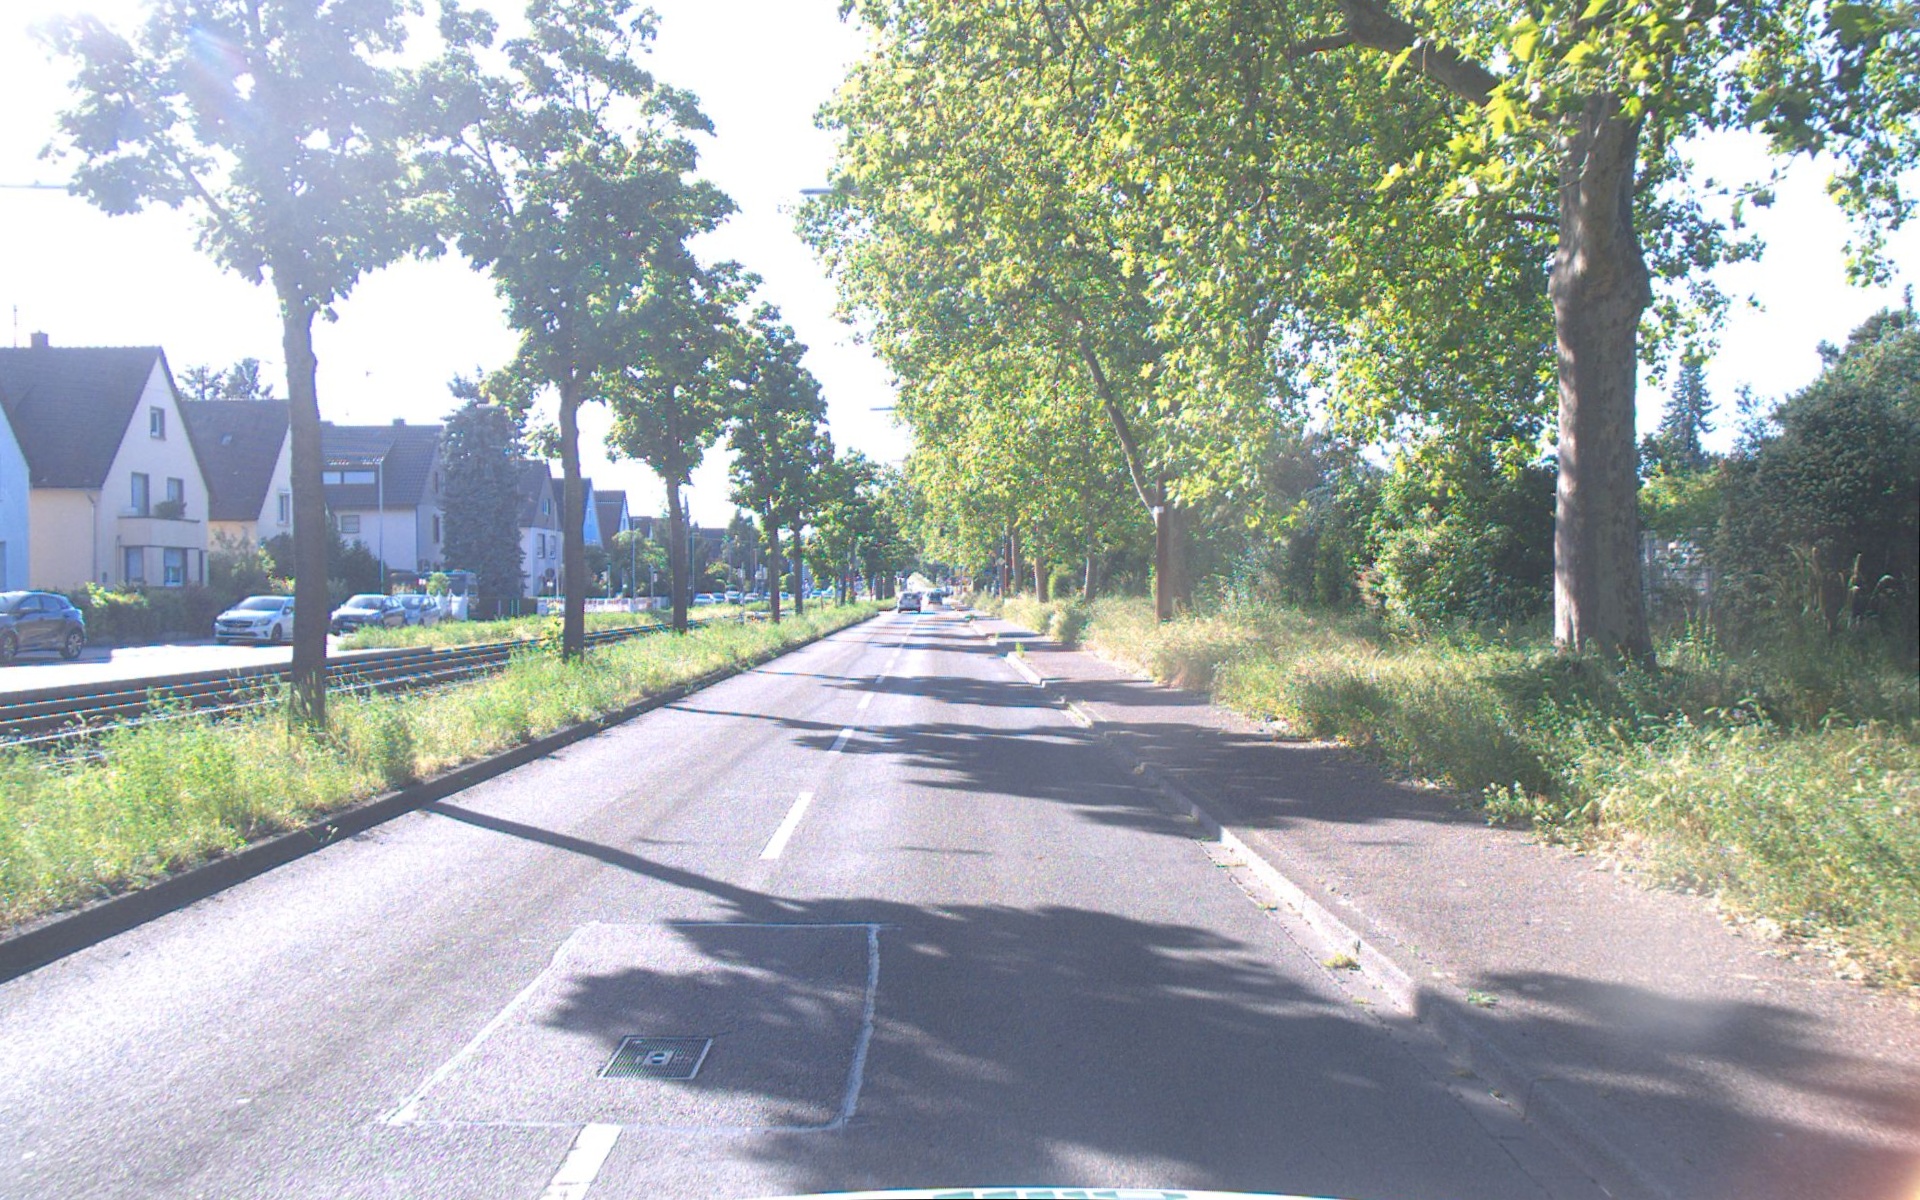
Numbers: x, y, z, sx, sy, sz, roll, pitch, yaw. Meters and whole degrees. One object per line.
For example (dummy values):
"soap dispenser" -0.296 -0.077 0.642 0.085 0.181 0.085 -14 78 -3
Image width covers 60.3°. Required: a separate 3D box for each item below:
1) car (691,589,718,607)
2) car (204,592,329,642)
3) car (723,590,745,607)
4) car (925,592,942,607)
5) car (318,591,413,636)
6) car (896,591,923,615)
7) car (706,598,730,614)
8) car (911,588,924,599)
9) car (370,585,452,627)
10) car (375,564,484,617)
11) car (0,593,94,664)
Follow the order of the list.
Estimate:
"car" -22.956 -0.223 148.851 1.822 1.569 4.227 1 0 -1
"car" -21.465 0.498 51.389 1.952 1.451 4.410 1 0 1
"car" -23.071 -0.135 169.111 1.712 1.679 4.554 1 0 -1
"car" -3.057 -0.036 189.215 1.953 1.631 4.472 1 0 -1
"car" -21.568 0.465 60.166 1.953 1.475 4.127 3 0 -1
"car" -3.512 0.222 115.451 1.822 1.629 4.227 1 0 -1
"car" -23.018 0.521 157.715 1.694 1.491 4.601 1 0 -1
"car" -6.658 -1.044 260.937 1.953 1.631 4.472 1 0 -1
"car" -21.543 0.241 65.092 1.907 1.580 4.056 1 0 -1
"car" -27.524 -0.518 85.911 4.926 2.671 2.102 -1 1 -1
"car" -21.502 0.602 37.172 1.887 1.521 4.255 1 0 -1
